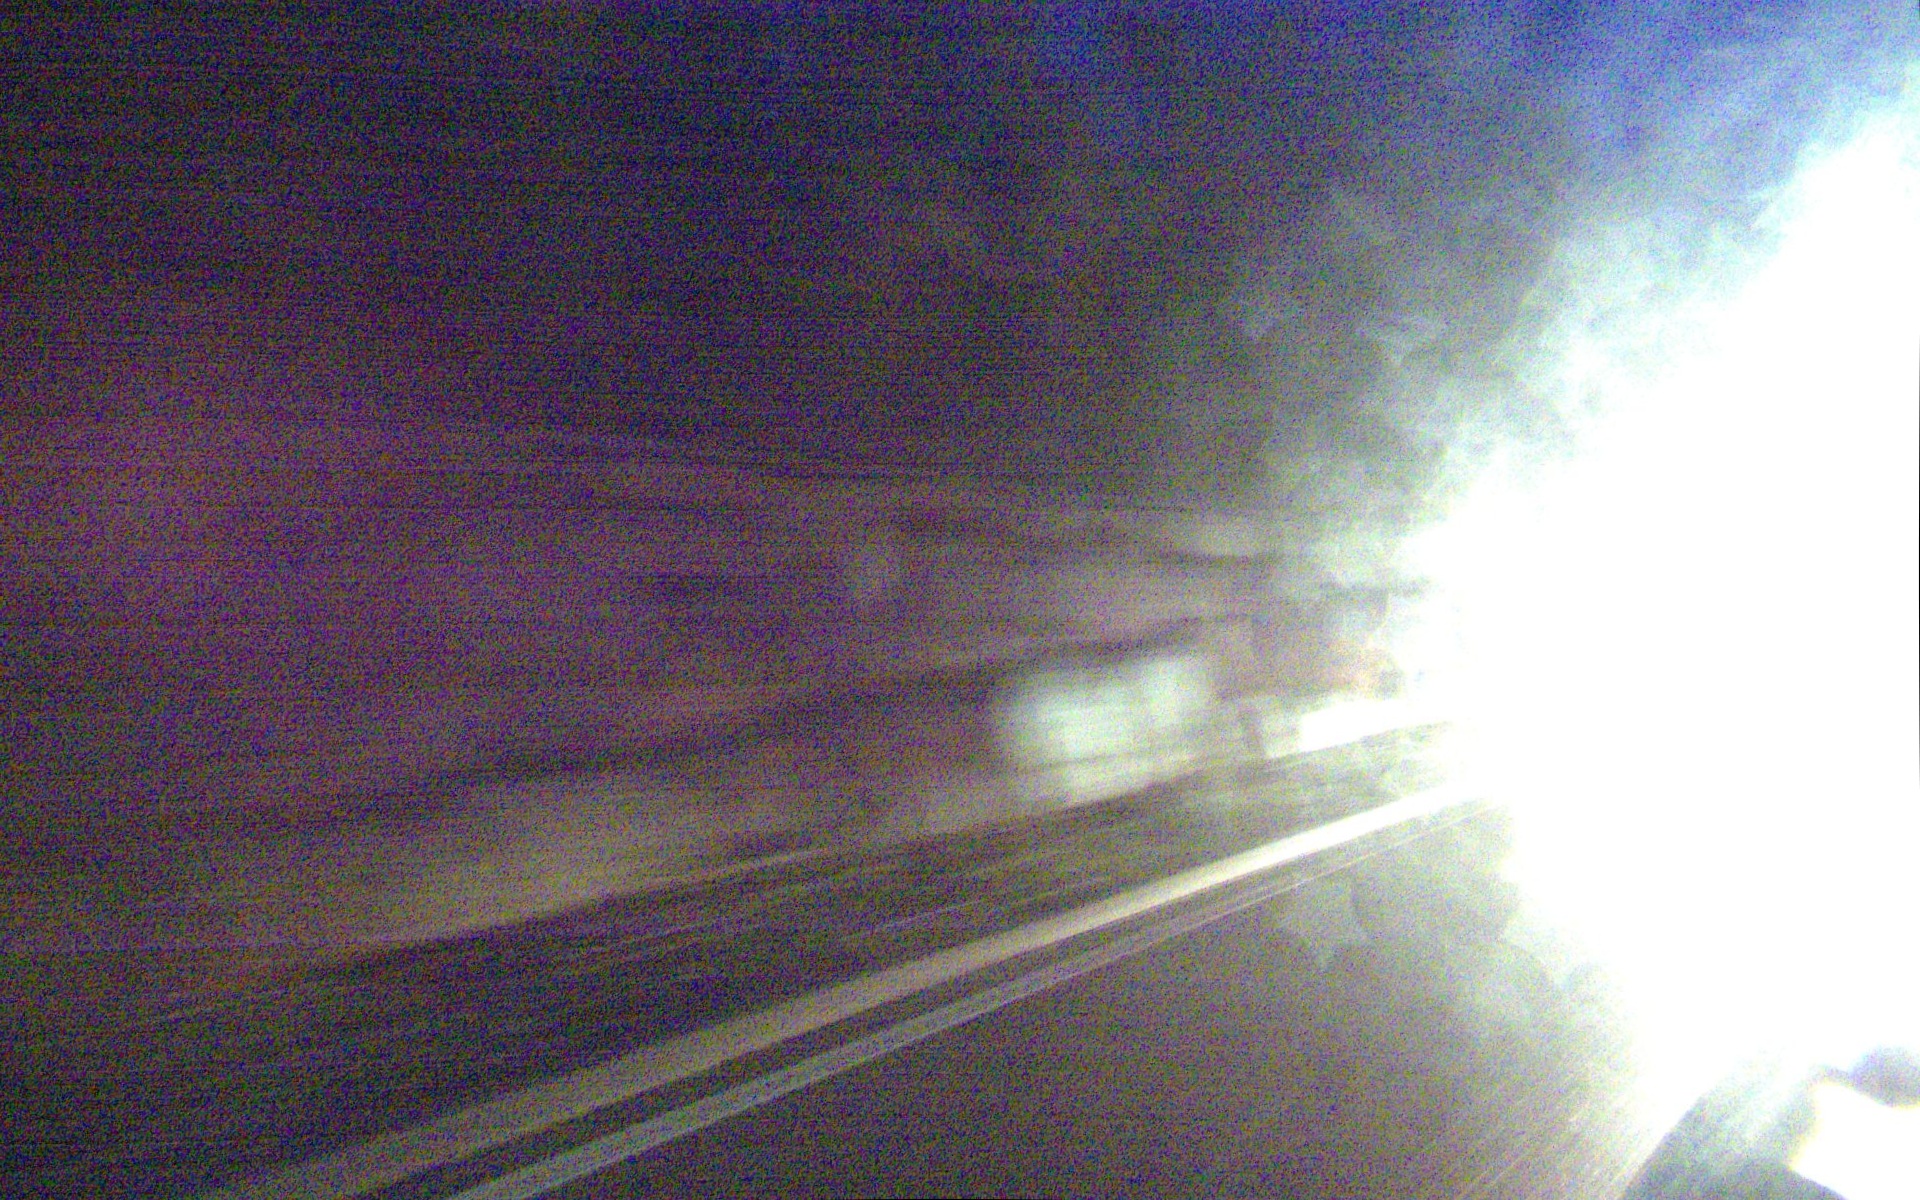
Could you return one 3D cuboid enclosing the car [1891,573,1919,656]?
[{"bbox_3d":[20.824,0.238,20.830,4.803,1.608,1.876,-1,0,-41],"label":"car"}]
